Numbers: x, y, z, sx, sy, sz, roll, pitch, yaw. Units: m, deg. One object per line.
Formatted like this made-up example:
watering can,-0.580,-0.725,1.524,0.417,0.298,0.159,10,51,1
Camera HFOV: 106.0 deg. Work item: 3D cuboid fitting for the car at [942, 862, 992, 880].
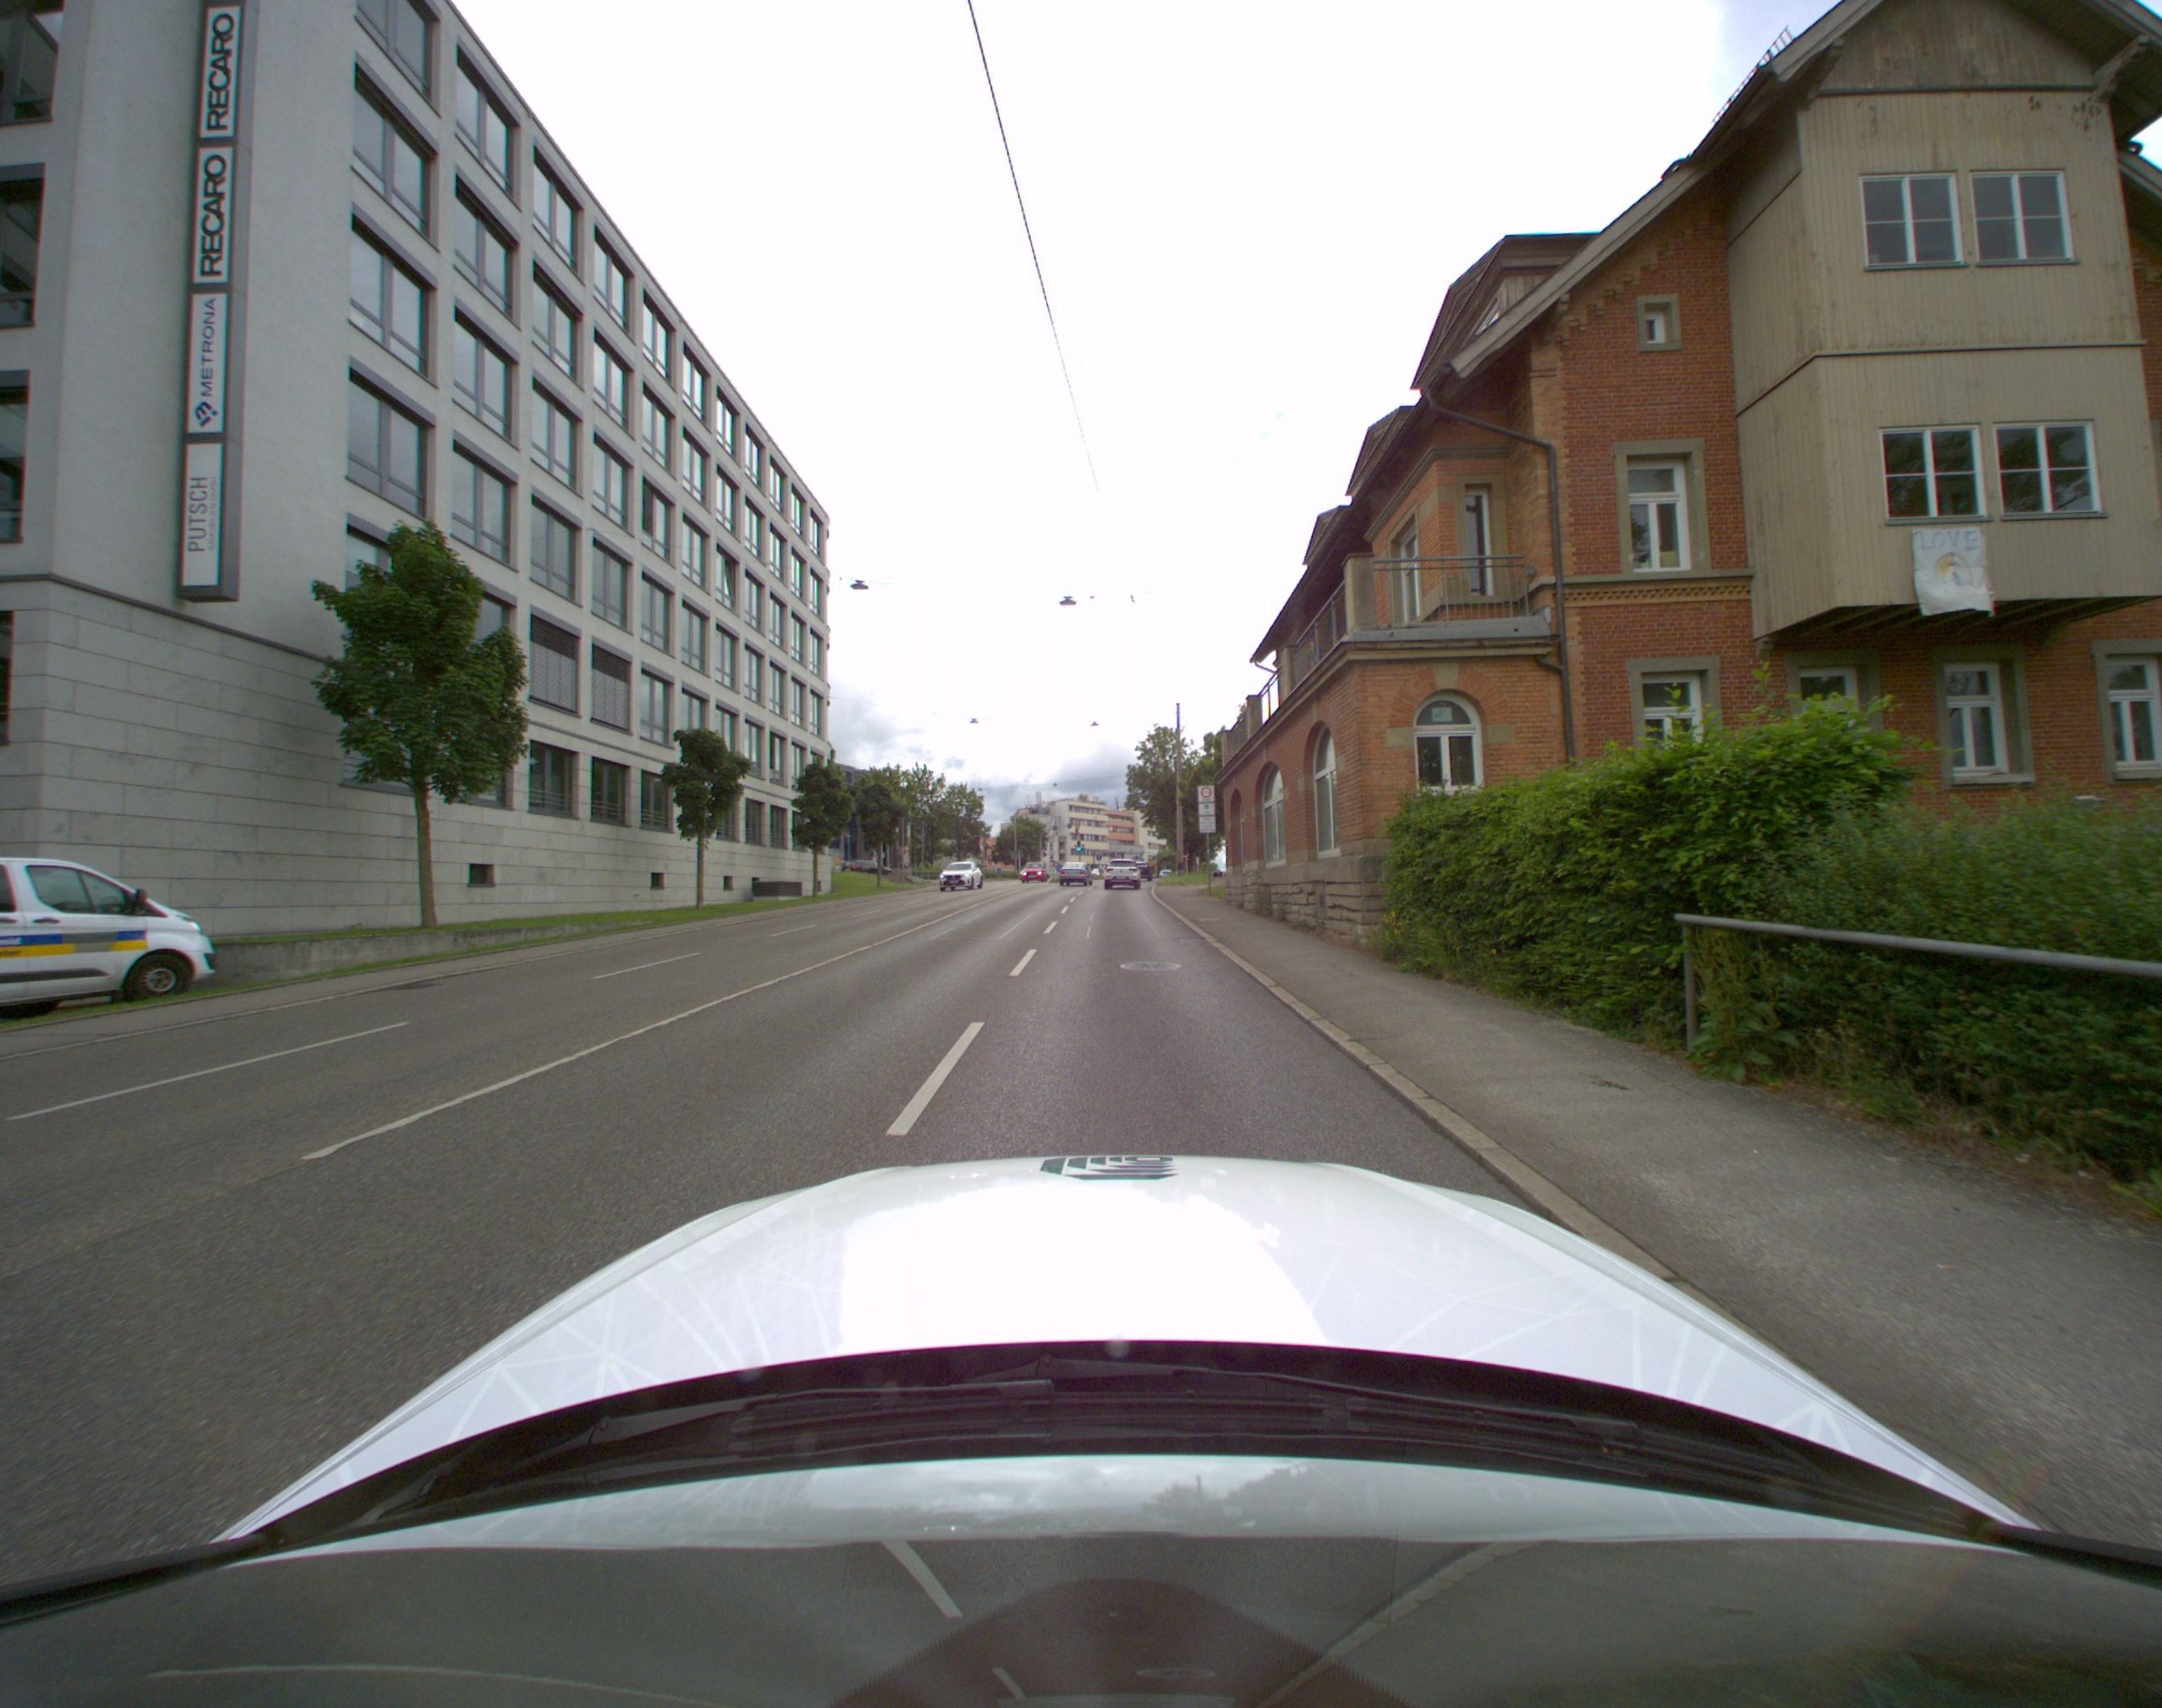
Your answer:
car,-9.814,1.454,70.332,4.023,1.544,1.759,0,-1,-45

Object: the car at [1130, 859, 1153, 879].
car,4.725,1.201,63.510,1.693,1.516,3.495,-1,-2,3

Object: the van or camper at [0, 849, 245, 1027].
van or camper,-13.005,0.995,9.094,2.052,1.968,4.876,-4,0,3

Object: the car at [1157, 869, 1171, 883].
car,10.874,2.868,106.661,1.761,1.571,4.292,-1,0,6

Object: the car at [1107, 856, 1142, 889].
car,2.251,0.936,43.082,1.693,1.548,3.737,2,0,1

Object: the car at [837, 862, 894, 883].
car,-16.717,1.411,63.476,1.759,1.463,4.467,0,0,27

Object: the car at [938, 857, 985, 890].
car,-7.031,1.112,48.370,1.862,1.789,4.656,-4,0,2

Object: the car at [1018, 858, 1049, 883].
car,-3.588,1.224,62.256,1.862,1.702,4.431,-4,0,2

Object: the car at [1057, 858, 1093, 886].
car,-0.304,1.043,48.650,1.691,1.516,3.743,-1,0,6

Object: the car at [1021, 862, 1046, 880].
car,-4.385,1.527,75.757,1.740,1.494,4.210,-4,-1,2
